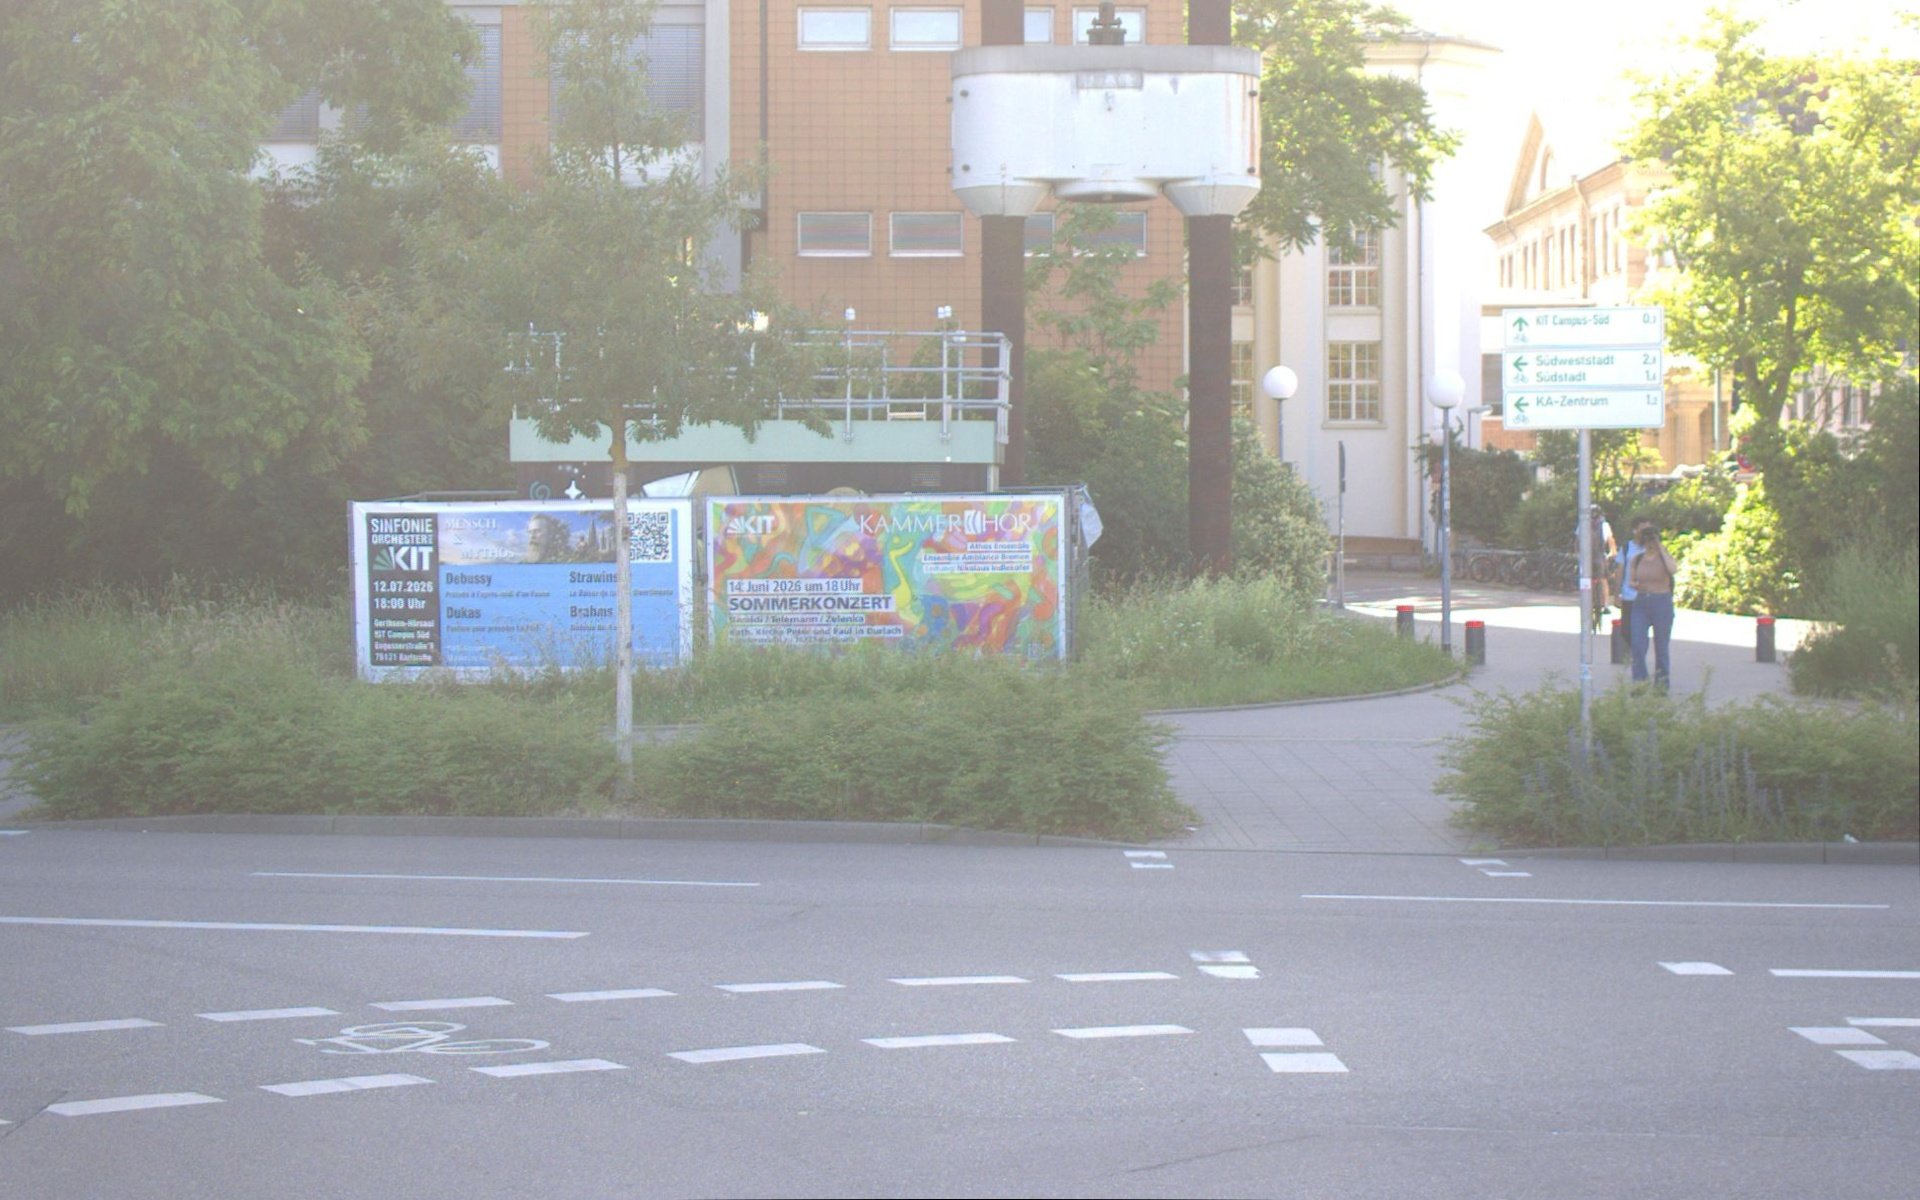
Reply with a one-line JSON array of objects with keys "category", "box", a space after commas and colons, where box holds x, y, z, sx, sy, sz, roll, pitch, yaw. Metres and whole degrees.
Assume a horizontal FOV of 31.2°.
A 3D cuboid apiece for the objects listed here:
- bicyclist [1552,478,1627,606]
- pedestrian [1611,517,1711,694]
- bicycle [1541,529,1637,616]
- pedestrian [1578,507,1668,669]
[{"category": "bicyclist", "box": [8.640, -0.798, 47.176, 0.721, 1.729, 0.976, 1, 1, 29]}, {"category": "pedestrian", "box": [6.670, 0.045, 32.704, 0.677, 1.637, 0.735, 3, 1, 30]}, {"category": "bicycle", "box": [8.644, -0.392, 47.196, 0.747, 1.161, 1.867, 1, 2, 29]}, {"category": "pedestrian", "box": [6.857, -0.126, 35.528, 0.676, 1.637, 0.735, 3, 1, 27]}]
